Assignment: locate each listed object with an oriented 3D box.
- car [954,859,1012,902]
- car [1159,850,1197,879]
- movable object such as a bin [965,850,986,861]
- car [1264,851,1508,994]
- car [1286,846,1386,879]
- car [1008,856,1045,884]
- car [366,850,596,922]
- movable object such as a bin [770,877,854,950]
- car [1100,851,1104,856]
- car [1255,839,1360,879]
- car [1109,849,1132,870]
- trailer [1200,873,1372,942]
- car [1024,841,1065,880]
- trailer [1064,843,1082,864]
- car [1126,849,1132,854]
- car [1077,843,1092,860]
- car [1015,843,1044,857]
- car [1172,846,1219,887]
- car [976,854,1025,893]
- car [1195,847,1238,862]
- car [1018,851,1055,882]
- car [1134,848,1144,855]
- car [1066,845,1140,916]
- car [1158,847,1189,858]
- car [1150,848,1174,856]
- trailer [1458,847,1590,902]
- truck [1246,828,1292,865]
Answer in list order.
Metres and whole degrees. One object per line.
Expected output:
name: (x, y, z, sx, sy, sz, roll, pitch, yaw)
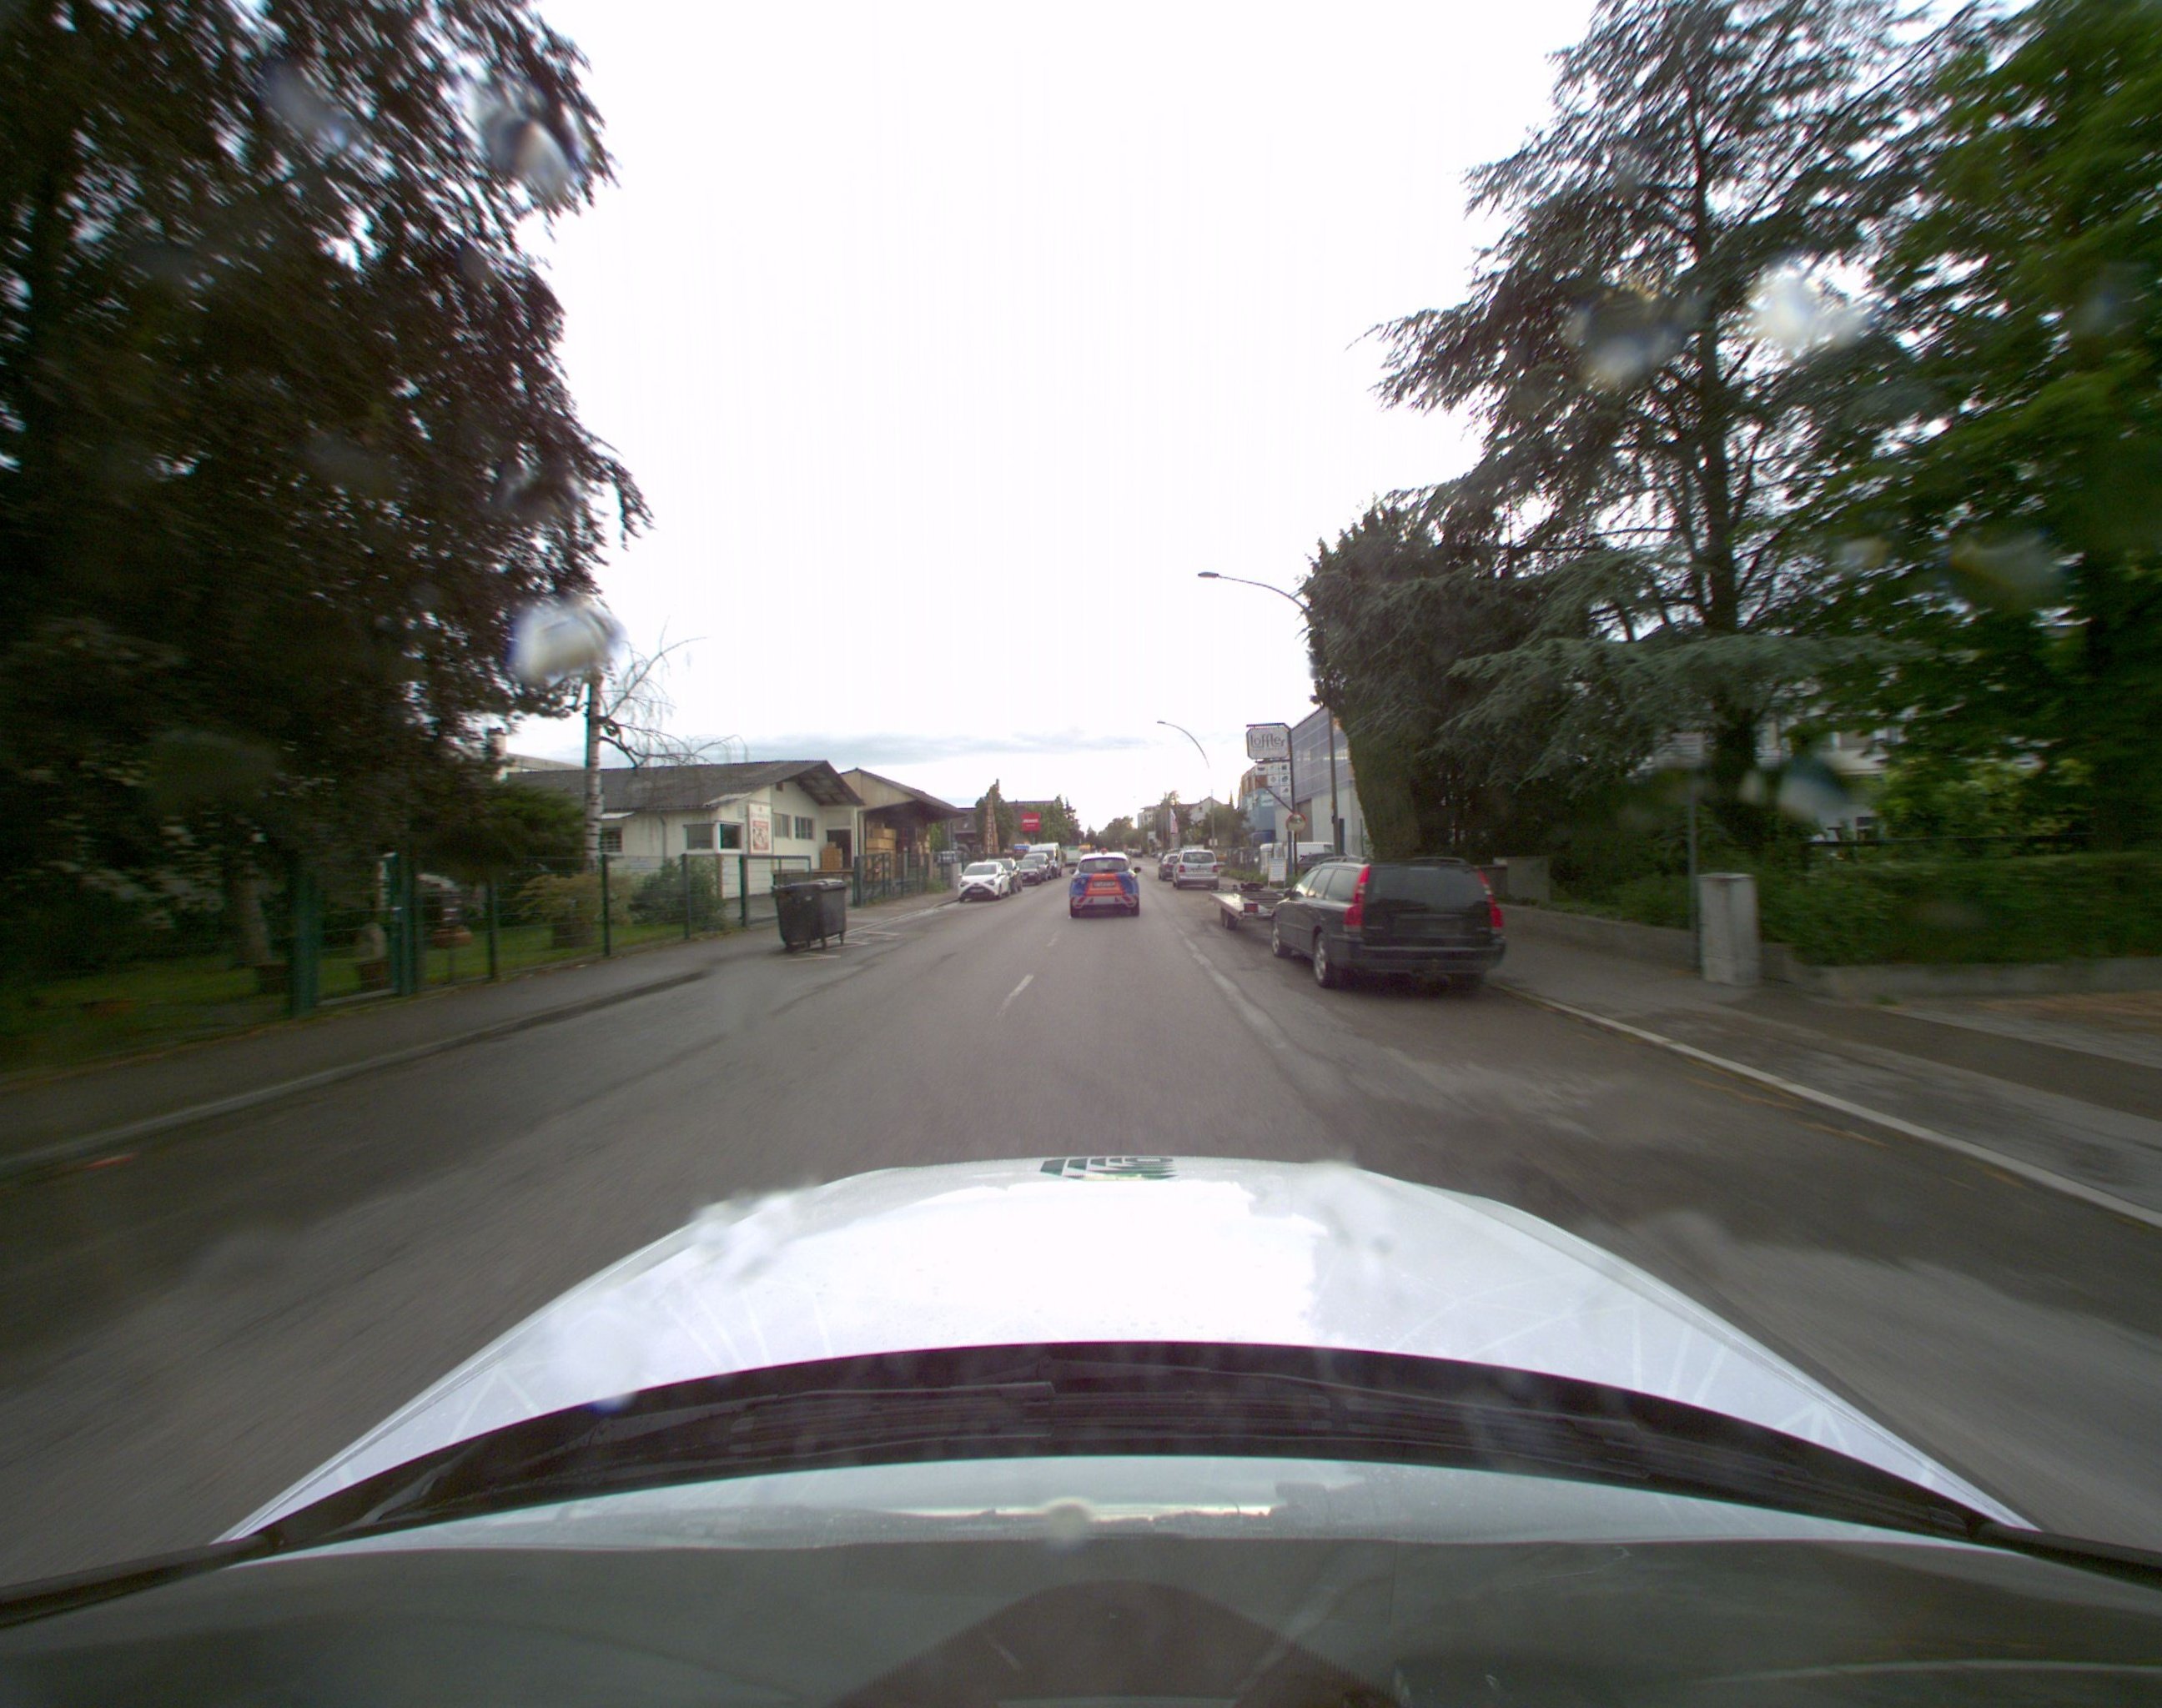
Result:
car: (-3.827, 1.018, 32.495, 1.610, 1.509, 3.663, -3, 0, 3)
car: (5.294, 0.556, 44.914, 1.732, 1.466, 4.548, -1, 0, 2)
movable object such as a bin: (-17.757, 0.204, 136.958, 3.415, 1.759, 1.997, -1, 0, -4)
car: (3.583, 0.700, 10.525, 1.732, 1.433, 4.654, -1, 0, 4)
car: (11.754, 0.388, 37.742, 4.087, 1.457, 2.001, -1, 0, 2)
car: (-3.046, 0.866, 46.536, 1.655, 1.448, 4.318, -3, 0, 1)
car: (-16.481, 0.856, 22.518, 4.976, 1.857, 2.002, -1, 0, 4)
movable object such as a bin: (-5.201, 1.130, 15.860, 1.096, 1.310, 1.426, -1, 0, 2)
car: (6.719, -0.199, 261.137, 1.381, 1.483, 3.784, -2, 0, 1)
car: (11.126, 0.229, 40.275, 4.713, 1.886, 2.001, -1, 0, 2)
car: (3.103, 0.420, 63.909, 1.644, 1.521, 4.000, -1, 0, 1)
trailer: (3.890, 0.970, 16.864, 2.165, 0.897, 6.640, -1, 1, 2)
car: (-2.537, 0.430, 58.766, 2.149, 2.427, 6.464, -5, 0, 3)
trailer: (-0.944, -0.040, 96.139, 1.806, 2.313, 4.732, -4, 0, 2)
car: (14.609, -0.758, 250.230, 1.644, 1.671, 4.000, -1, 0, 1)
car: (0.600, -0.411, 126.207, 2.117, 2.537, 6.024, -3, 0, 1)
car: (-8.060, -0.613, 127.485, 4.289, 2.014, 2.064, -1, 0, 2)
car: (4.869, 0.518, 35.016, 1.731, 1.621, 4.378, -1, 0, 4)
car: (-3.631, 0.853, 37.300, 1.655, 1.584, 3.918, -4, 0, 2)
car: (13.501, 0.055, 81.135, 3.973, 1.430, 1.631, -1, 0, 1)
car: (-2.839, 0.785, 52.976, 1.762, 1.768, 4.450, -5, 0, 3)
car: (10.527, -0.455, 148.043, 1.584, 1.341, 4.093, -2, 0, 1)
car: (0.581, 0.644, 21.117, 1.725, 1.630, 3.496, -2, 0, 2)
car: (13.295, -0.223, 117.599, 4.322, 1.475, 1.903, -1, 0, 1)
car: (14.147, -0.320, 142.440, 3.973, 1.266, 1.951, -1, 0, 0)
trailer: (11.395, 0.495, 21.250, 1.607, 1.275, 3.898, -1, 0, 5)
truck: (19.522, -0.777, 84.821, 4.131, 3.673, 2.720, 1, 0, 0)
